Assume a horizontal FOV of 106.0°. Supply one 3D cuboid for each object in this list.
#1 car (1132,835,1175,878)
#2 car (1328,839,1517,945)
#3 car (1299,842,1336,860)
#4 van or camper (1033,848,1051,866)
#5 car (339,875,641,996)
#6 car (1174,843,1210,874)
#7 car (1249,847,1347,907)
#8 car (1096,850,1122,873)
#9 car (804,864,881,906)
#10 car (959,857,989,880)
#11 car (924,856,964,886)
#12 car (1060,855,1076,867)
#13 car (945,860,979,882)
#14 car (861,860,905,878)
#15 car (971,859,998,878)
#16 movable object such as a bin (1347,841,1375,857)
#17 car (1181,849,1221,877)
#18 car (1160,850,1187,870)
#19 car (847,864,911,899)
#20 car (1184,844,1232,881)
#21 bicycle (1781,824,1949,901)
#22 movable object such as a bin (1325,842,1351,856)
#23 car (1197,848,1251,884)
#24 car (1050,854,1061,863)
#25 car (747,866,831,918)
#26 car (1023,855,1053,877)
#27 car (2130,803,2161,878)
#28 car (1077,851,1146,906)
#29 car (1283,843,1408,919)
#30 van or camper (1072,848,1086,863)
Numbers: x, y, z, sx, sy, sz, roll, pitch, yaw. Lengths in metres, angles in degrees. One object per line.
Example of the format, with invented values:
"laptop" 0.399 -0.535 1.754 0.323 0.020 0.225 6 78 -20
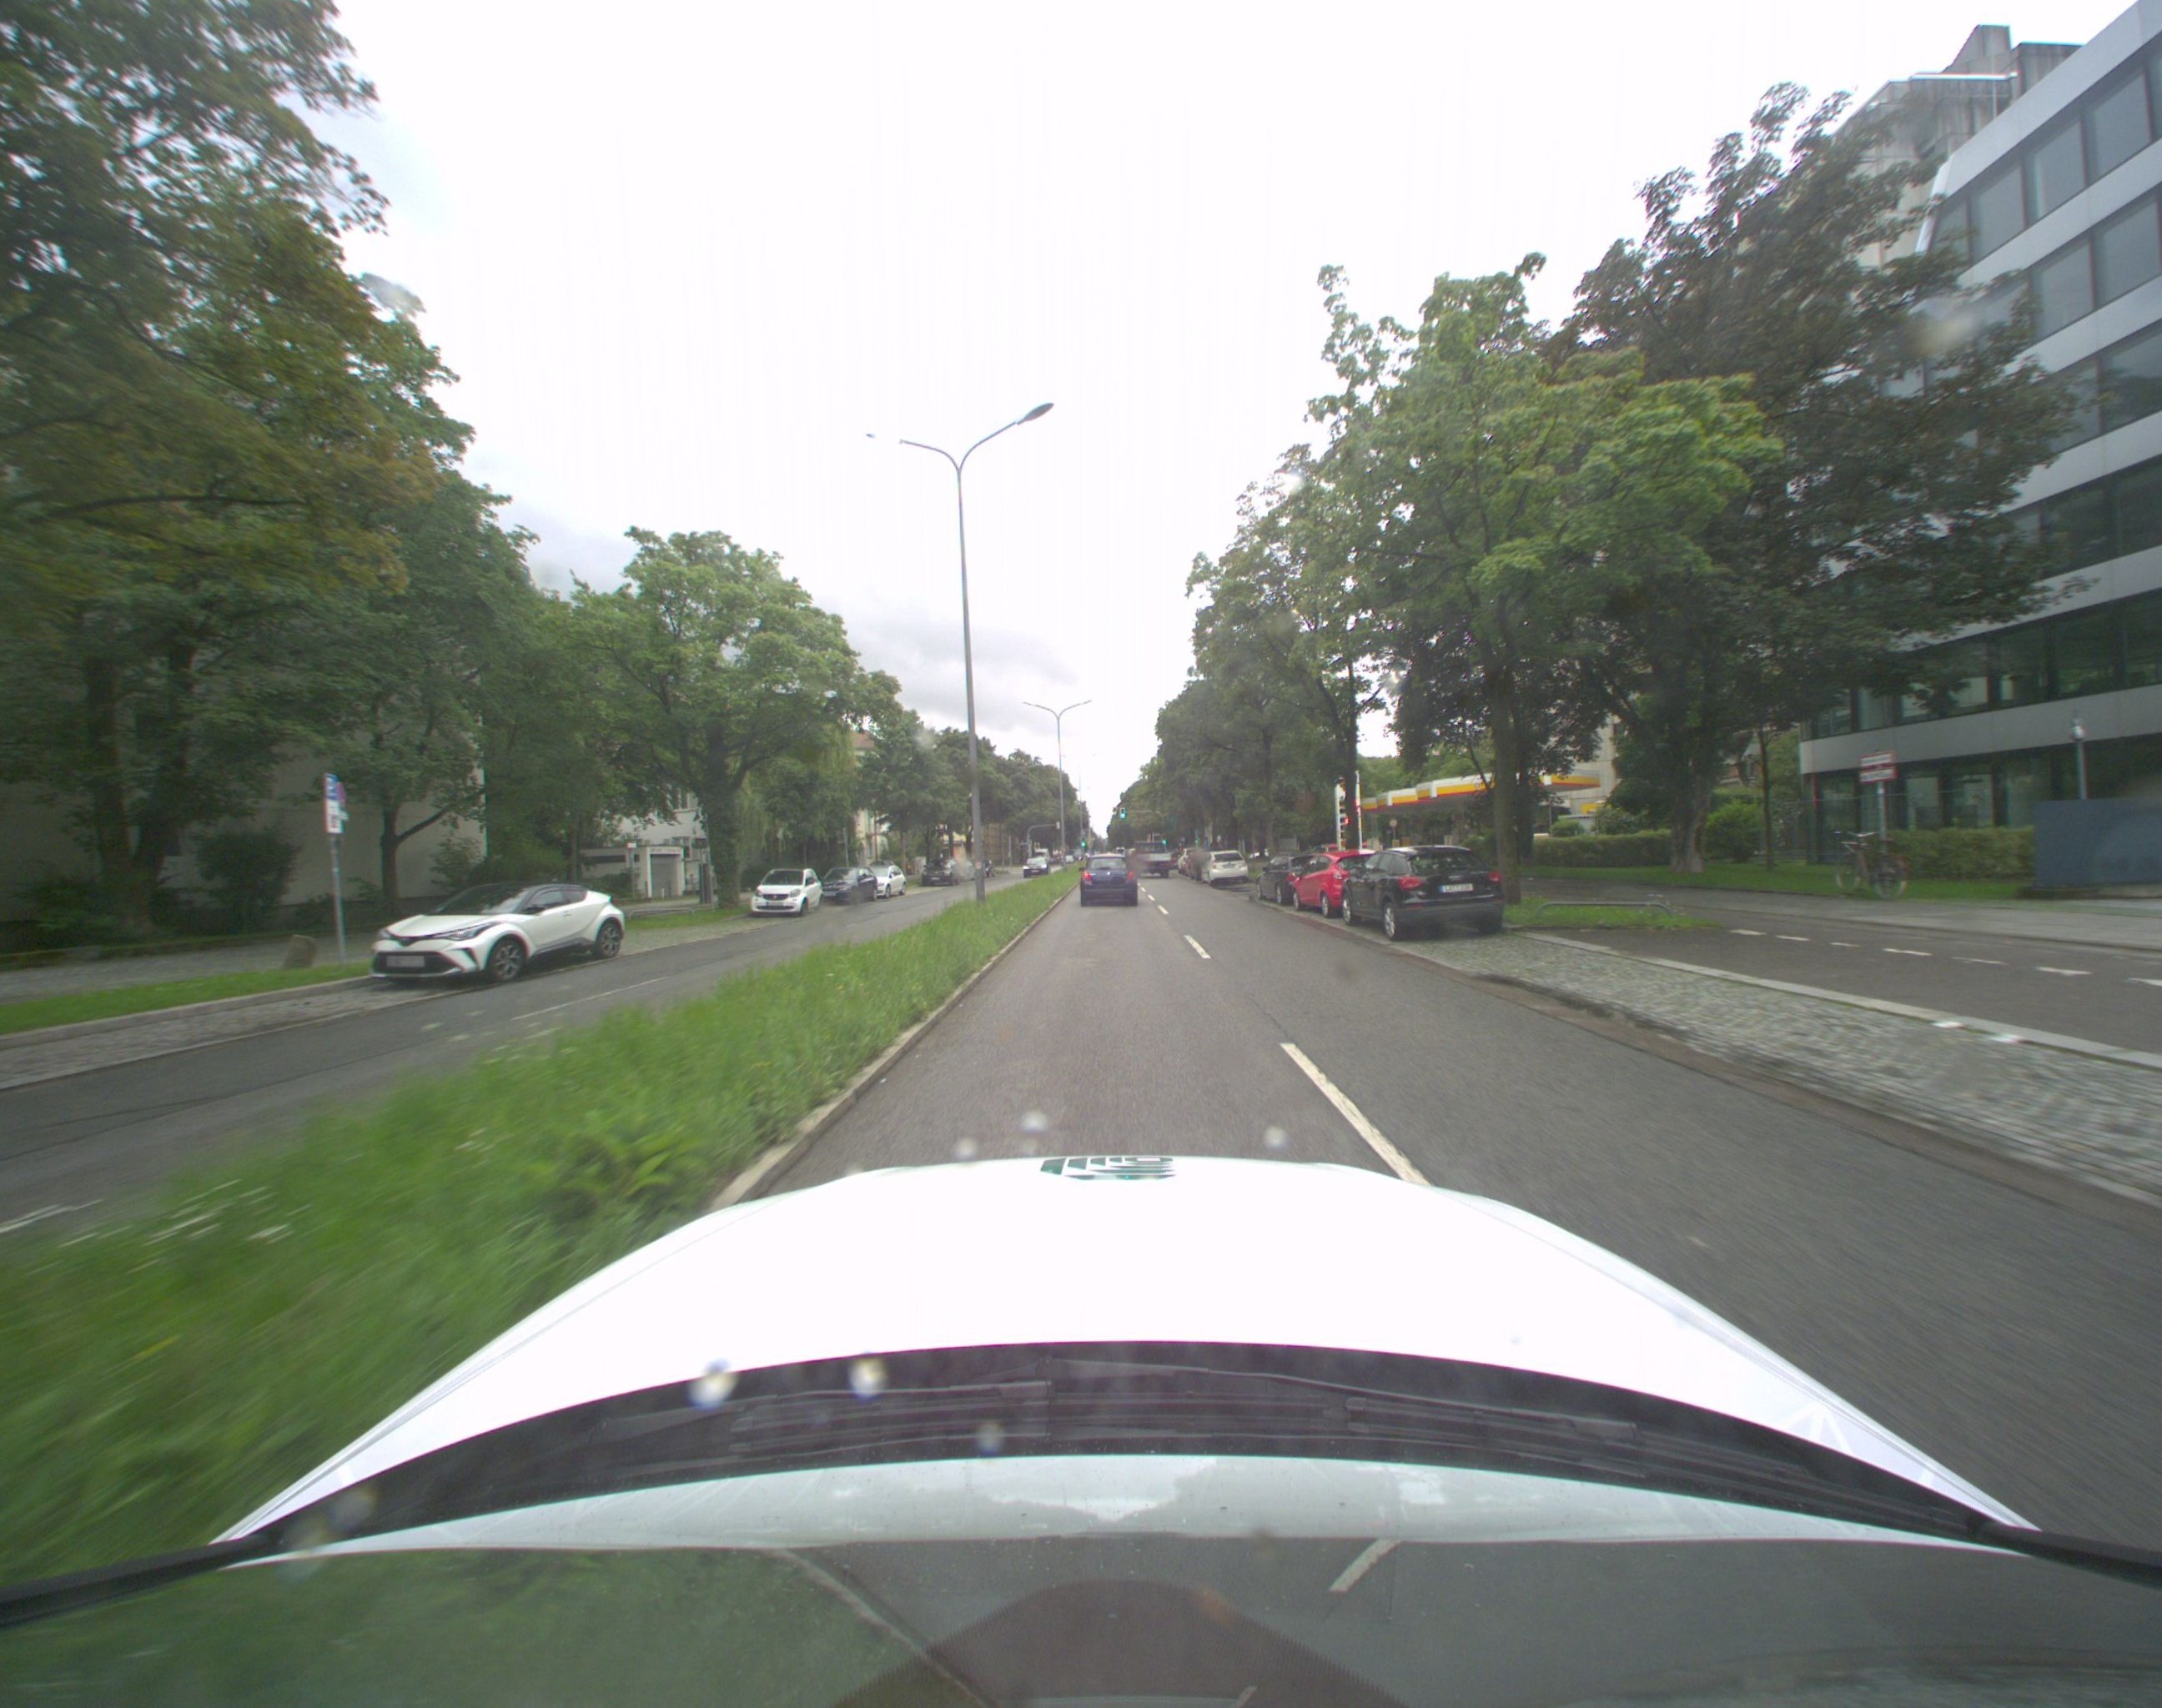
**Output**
"car" 4.334 0.134 49.615 2.408 2.444 5.091 -1 0 3
"car" 5.948 0.583 14.794 1.772 1.511 4.289 -4 0 4
"car" 27.910 -0.345 96.345 3.858 1.610 1.937 -7 0 8
"van or camper" -6.024 0.435 125.930 2.132 2.476 6.262 -3 0 2
"car" -9.843 1.251 14.130 1.825 1.609 4.494 0 0 2
"car" 7.284 0.302 53.595 1.754 1.830 4.530 -4 0 2
"car" 6.167 0.605 23.681 1.669 1.453 4.584 -4 0 2
"car" 2.053 0.527 59.211 1.792 1.499 3.662 -3 0 2
"car" -9.372 1.172 32.329 1.668 1.475 4.217 0 0 2
"car" -8.228 1.091 63.038 1.661 1.562 4.298 -3 0 0
"car" -8.569 1.037 51.221 1.791 1.763 5.054 0 0 -2
"car" -1.693 0.958 108.102 1.730 1.442 4.105 -3 0 2
"car" -8.421 1.211 58.010 1.660 1.445 4.377 0 0 2
"car" -18.127 1.372 74.686 3.622 1.462 1.671 -3 0 -1
"car" -8.121 1.185 68.593 1.557 1.450 3.841 0 0 4
"movable object such as a bin" 27.055 -0.489 78.642 2.053 1.486 1.838 -3 0 2
"car" 7.096 0.502 48.545 1.754 1.506 4.145 -4 0 2
"car" 7.650 0.438 67.541 1.706 1.424 4.283 -6 0 1
"car" -9.177 1.220 37.381 1.668 1.443 4.322 0 0 2
"car" 6.707 0.426 43.493 1.754 1.698 5.232 -4 0 2
"bicycle" 13.367 0.126 14.010 0.745 1.183 2.247 -3 0 2
"movable object such as a bin" 24.835 -0.459 78.690 2.052 1.263 1.532 -3 0 2
"car" 6.589 0.532 37.929 1.754 1.453 4.635 -4 0 2
"car" -4.509 0.859 146.324 1.630 1.442 3.737 -3 0 2
"car" -9.616 1.209 27.063 1.685 1.565 3.079 0 0 0
"car" -3.074 0.822 59.412 1.732 1.440 4.217 -3 0 2
"car" 23.328 -0.321 15.299 2.011 1.548 4.049 -3 0 1
"car" 0.847 0.683 24.829 1.891 1.499 3.658 -1 0 -1
"car" 6.089 0.569 19.256 1.669 1.501 4.023 -4 0 2
"van or camper" -0.356 0.210 133.486 2.016 2.260 6.023 -3 0 1
